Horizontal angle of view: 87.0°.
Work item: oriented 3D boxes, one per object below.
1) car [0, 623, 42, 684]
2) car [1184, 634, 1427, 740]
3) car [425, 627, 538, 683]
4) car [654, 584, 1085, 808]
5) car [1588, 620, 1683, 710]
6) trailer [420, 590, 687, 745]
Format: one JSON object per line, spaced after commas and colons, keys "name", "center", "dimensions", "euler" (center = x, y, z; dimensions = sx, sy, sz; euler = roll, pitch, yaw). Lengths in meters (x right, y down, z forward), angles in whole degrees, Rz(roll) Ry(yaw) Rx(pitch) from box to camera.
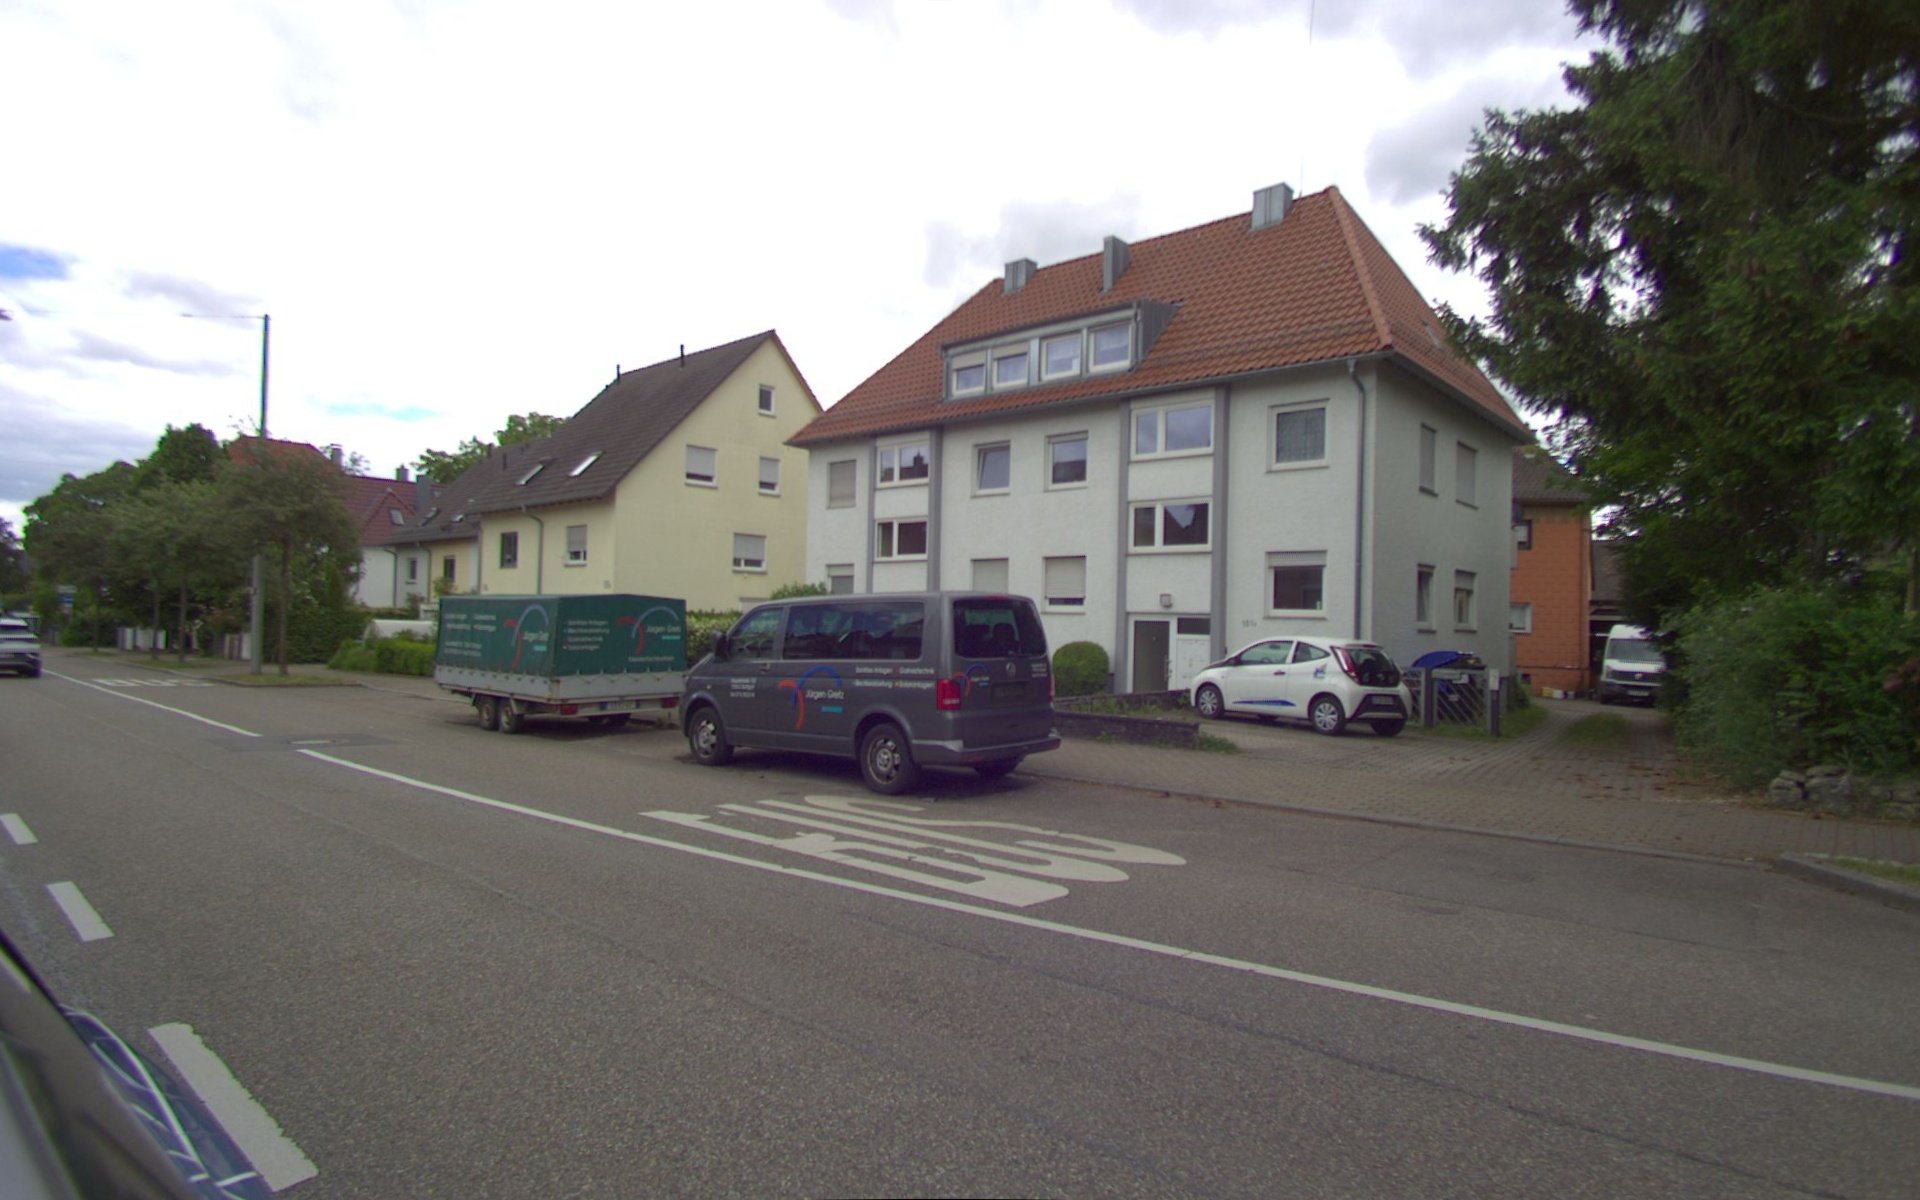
{"name": "car", "center": [-27.084, 1.459, 28.206], "dimensions": [4.298, 1.616, 1.801], "euler": [-1, -3, 43]}
{"name": "car", "center": [5.402, 1.300, 16.205], "dimensions": [1.603, 1.497, 3.435], "euler": [2, -3, -33]}
{"name": "car", "center": [-14.249, 1.623, 30.069], "dimensions": [3.917, 1.533, 1.729], "euler": [-1, -5, 44]}
{"name": "car", "center": [-1.190, 0.913, 11.280], "dimensions": [4.896, 1.964, 1.972], "euler": [-1, -3, 42]}
{"name": "car", "center": [21.662, 2.015, 32.334], "dimensions": [2.256, 2.606, 5.537], "euler": [-1, -3, 36]}
{"name": "trailer", "center": [-6.513, 0.991, 16.024], "dimensions": [4.423, 2.104, 2.132], "euler": [-1, -3, 41]}
